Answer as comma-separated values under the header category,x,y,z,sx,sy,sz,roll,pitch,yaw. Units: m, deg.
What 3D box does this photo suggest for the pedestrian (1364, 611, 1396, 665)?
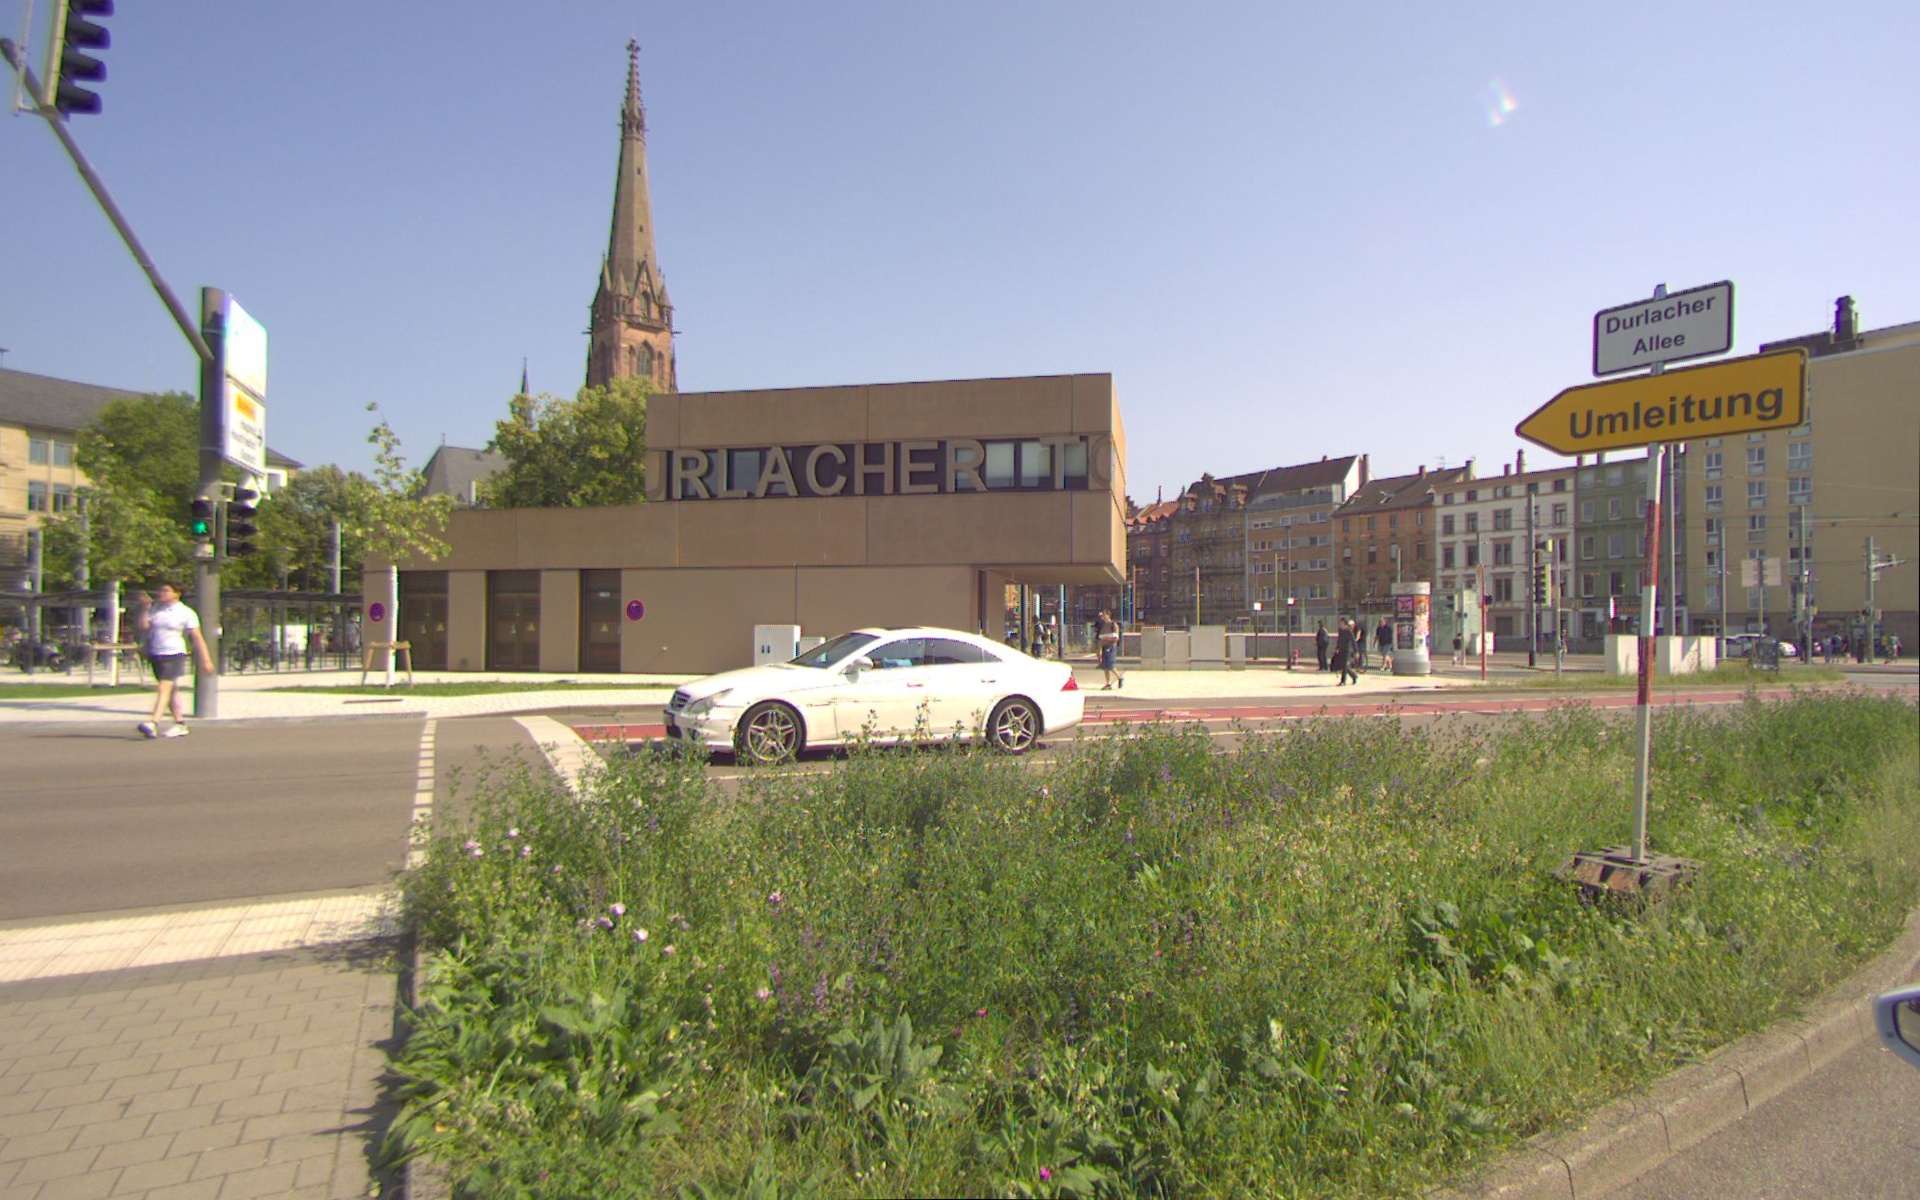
category,x,y,z,sx,sy,sz,roll,pitch,yaw
pedestrian,14.617,1.312,34.938,0.866,1.843,0.894,-2,0,31

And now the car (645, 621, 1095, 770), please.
category,x,y,z,sx,sy,sz,roll,pitch,yaw
car,-0.977,1.005,11.438,4.755,1.379,1.836,2,-1,-26

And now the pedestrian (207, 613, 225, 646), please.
category,x,y,z,sx,sy,sz,roll,pitch,yaw
pedestrian,-40.543,1.618,54.739,0.712,1.771,0.384,2,-2,-45

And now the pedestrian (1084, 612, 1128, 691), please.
category,x,y,z,sx,sy,sz,roll,pitch,yaw
pedestrian,3.405,1.187,23.351,0.668,1.783,0.875,-1,-2,38

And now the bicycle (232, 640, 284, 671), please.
category,x,y,z,sx,sy,sz,roll,pitch,yaw
bicycle,-23.507,1.853,33.635,1.710,1.022,0.401,0,-2,13

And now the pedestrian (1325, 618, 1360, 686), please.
category,x,y,z,sx,sy,sz,roll,pitch,yaw
pedestrian,10.376,1.399,27.254,0.832,1.802,0.876,-2,0,22

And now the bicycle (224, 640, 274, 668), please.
category,x,y,z,sx,sy,sz,roll,pitch,yaw
bicycle,-27.064,2.055,38.229,1.837,1.022,0.462,0,-2,13

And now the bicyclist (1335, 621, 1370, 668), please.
category,x,y,z,sx,sy,sz,roll,pitch,yaw
bicyclist,12.132,1.368,31.059,0.872,1.380,0.560,-2,1,-28

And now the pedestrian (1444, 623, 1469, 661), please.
category,x,y,z,sx,sy,sz,roll,pitch,yaw
pedestrian,24.642,2.061,49.869,0.770,1.843,0.828,3,-2,-32

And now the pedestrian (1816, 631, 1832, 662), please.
category,x,y,z,sx,sy,sz,roll,pitch,yaw
pedestrian,49.658,2.669,57.705,0.539,1.707,0.454,-2,0,-20

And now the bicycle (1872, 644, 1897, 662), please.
category,x,y,z,sx,sy,sz,roll,pitch,yaw
bicycle,51.529,2.938,55.969,1.715,0.997,0.722,2,-2,-36

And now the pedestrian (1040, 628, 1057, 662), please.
category,x,y,z,sx,sy,sz,roll,pitch,yaw
pedestrian,4.267,2.167,48.474,0.782,1.612,0.692,0,-1,-2

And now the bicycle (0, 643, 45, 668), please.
category,x,y,z,sx,sy,sz,roll,pitch,yaw
bicycle,-34.319,2.023,36.771,1.556,0.904,0.401,0,-2,13

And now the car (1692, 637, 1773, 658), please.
category,x,y,z,sx,sy,sz,roll,pitch,yaw
car,49.656,3.048,64.626,1.557,1.195,3.814,4,-3,-28

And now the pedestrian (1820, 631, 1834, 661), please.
category,x,y,z,sx,sy,sz,roll,pitch,yaw
pedestrian,50.340,2.669,58.302,0.447,1.707,0.440,-2,0,20

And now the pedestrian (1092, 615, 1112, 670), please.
category,x,y,z,sx,sy,sz,roll,pitch,yaw
pedestrian,4.860,1.460,34.497,0.547,1.843,0.392,-2,0,-6

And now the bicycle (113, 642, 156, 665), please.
category,x,y,z,sx,sy,sz,roll,pitch,yaw
bicycle,-32.182,2.084,39.151,1.556,0.904,0.410,0,-2,13

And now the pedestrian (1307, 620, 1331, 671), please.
category,x,y,z,sx,sy,sz,roll,pitch,yaw
pedestrian,11.513,1.467,32.238,0.499,1.601,0.497,-2,0,-17

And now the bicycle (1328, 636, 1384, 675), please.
category,x,y,z,sx,sy,sz,roll,pitch,yaw
bicycle,12.276,1.702,31.132,1.827,1.078,0.560,-2,1,-28

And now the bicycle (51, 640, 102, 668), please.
category,x,y,z,sx,sy,sz,roll,pitch,yaw
bicycle,-32.375,1.974,36.810,1.679,1.000,0.534,0,-2,13

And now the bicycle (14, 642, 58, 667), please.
category,x,y,z,sx,sy,sz,roll,pitch,yaw
bicycle,-34.386,2.024,37.376,1.556,0.904,0.410,0,-2,13

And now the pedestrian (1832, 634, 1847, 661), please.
category,x,y,z,sx,sy,sz,roll,pitch,yaw
pedestrian,50.904,2.748,58.115,0.489,1.507,0.440,-2,0,20

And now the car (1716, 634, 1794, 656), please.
category,x,y,z,sx,sy,sz,roll,pitch,yaw
car,52.277,2.939,66.073,1.569,1.411,3.719,1,-2,-31

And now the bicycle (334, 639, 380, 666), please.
category,x,y,z,sx,sy,sz,roll,pitch,yaw
bicycle,-23.285,2.018,38.762,1.710,1.022,0.401,0,-2,13

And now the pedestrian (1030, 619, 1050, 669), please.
category,x,y,z,sx,sy,sz,roll,pitch,yaw
pedestrian,2.763,1.515,34.757,0.595,1.718,0.533,-2,0,2

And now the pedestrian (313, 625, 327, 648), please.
category,x,y,z,sx,sy,sz,roll,pitch,yaw
pedestrian,-35.015,2.005,54.952,0.375,1.240,0.440,-2,0,14

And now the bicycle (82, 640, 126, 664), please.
category,x,y,z,sx,sy,sz,roll,pitch,yaw
bicycle,-32.090,1.946,37.671,1.556,0.904,0.410,0,-2,13

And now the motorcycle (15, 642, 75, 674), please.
category,x,y,z,sx,sy,sz,roll,pitch,yaw
motorcycle,-29.633,1.870,32.522,1.710,1.022,0.543,0,-2,13

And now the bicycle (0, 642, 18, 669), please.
category,x,y,z,sx,sy,sz,roll,pitch,yaw
bicycle,-34.620,1.983,36.000,1.556,0.980,0.422,0,-2,13

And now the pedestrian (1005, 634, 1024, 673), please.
category,x,y,z,sx,sy,sz,roll,pitch,yaw
pedestrian,1.700,1.670,31.506,0.513,1.187,0.596,0,-2,11

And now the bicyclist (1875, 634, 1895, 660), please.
category,x,y,z,sx,sy,sz,roll,pitch,yaw
bicyclist,51.579,2.624,56.011,0.683,1.453,0.721,1,-2,-35

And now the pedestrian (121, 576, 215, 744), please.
category,x,y,z,sx,sy,sz,roll,pitch,yaw
pedestrian,-9.085,0.674,11.525,0.682,1.857,0.570,0,-1,25

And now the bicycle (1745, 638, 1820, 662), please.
category,x,y,z,sx,sy,sz,roll,pitch,yaw
bicycle,58.528,3.542,71.525,1.183,1.572,3.964,-2,0,-33

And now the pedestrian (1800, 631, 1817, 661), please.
category,x,y,z,sx,sy,sz,roll,pitch,yaw
pedestrian,48.925,2.665,57.938,0.537,1.707,0.455,-2,0,-7
